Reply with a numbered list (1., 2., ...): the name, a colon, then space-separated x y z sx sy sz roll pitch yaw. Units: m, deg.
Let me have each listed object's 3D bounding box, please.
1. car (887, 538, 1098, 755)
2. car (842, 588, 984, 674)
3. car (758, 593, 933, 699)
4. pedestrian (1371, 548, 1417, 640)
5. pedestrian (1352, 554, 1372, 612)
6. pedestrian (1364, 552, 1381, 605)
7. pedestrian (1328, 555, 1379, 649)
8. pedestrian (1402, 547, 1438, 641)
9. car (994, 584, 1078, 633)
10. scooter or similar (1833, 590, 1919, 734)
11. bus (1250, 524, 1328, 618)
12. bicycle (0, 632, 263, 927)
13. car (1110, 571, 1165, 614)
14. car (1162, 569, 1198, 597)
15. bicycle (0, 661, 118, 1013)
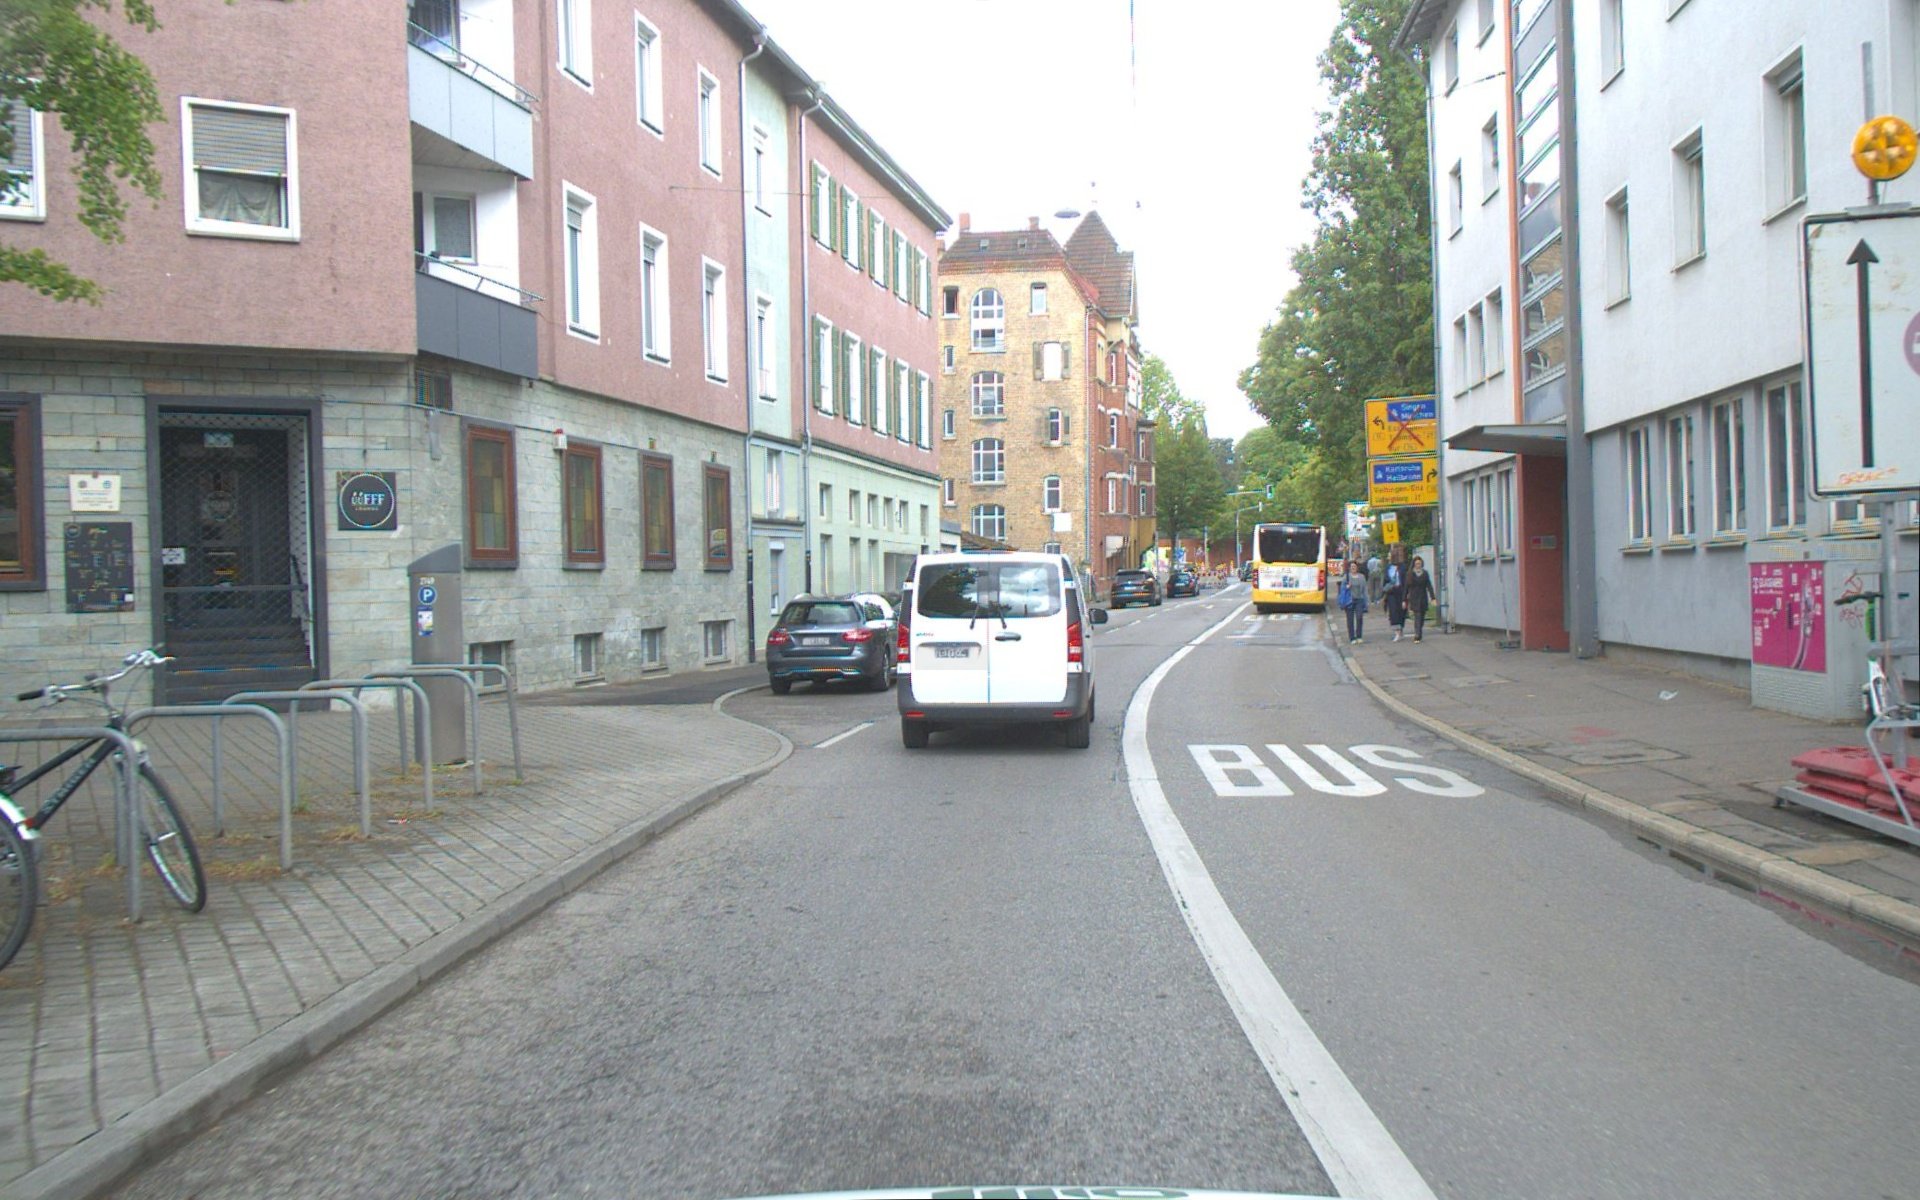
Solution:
1. car: 0.490 0.448 17.493 1.877 1.935 4.704 1 -1 5
2. car: -0.803 0.540 31.623 1.790 1.480 4.925 -1 0 9
3. car: -1.682 0.655 25.878 1.790 1.480 4.588 -1 0 8
4. pedestrian: 8.760 -0.135 33.399 0.672 1.787 0.879 -4 1 6
5. pedestrian: 12.660 -0.545 52.055 0.569 1.810 0.822 1 1 12
6. pedestrian: 14.393 -0.754 57.710 0.440 1.809 0.672 -4 0 12
7. pedestrian: 7.964 0.036 33.469 0.786 1.824 0.943 -4 1 6
8. pedestrian: 8.977 -0.117 32.271 0.531 1.787 0.609 -3 1 19
9. car: 2.221 0.254 47.491 1.951 1.312 4.003 1 -1 9
10. scooter or similar: 7.931 0.497 13.984 0.419 1.116 1.440 -3 1 5
11. bus: 12.410 -1.103 61.849 2.606 3.190 10.049 1 1 12
12. bicycle: -4.039 0.744 7.143 1.770 1.197 0.722 1 0 -13
13. car: 7.949 -0.346 73.644 1.912 1.764 4.778 -1 1 12
14. car: 13.324 -1.043 99.906 1.688 1.511 4.395 -1 3 13
15. bicycle: -4.033 0.786 5.887 1.830 1.133 0.578 1 0 8
